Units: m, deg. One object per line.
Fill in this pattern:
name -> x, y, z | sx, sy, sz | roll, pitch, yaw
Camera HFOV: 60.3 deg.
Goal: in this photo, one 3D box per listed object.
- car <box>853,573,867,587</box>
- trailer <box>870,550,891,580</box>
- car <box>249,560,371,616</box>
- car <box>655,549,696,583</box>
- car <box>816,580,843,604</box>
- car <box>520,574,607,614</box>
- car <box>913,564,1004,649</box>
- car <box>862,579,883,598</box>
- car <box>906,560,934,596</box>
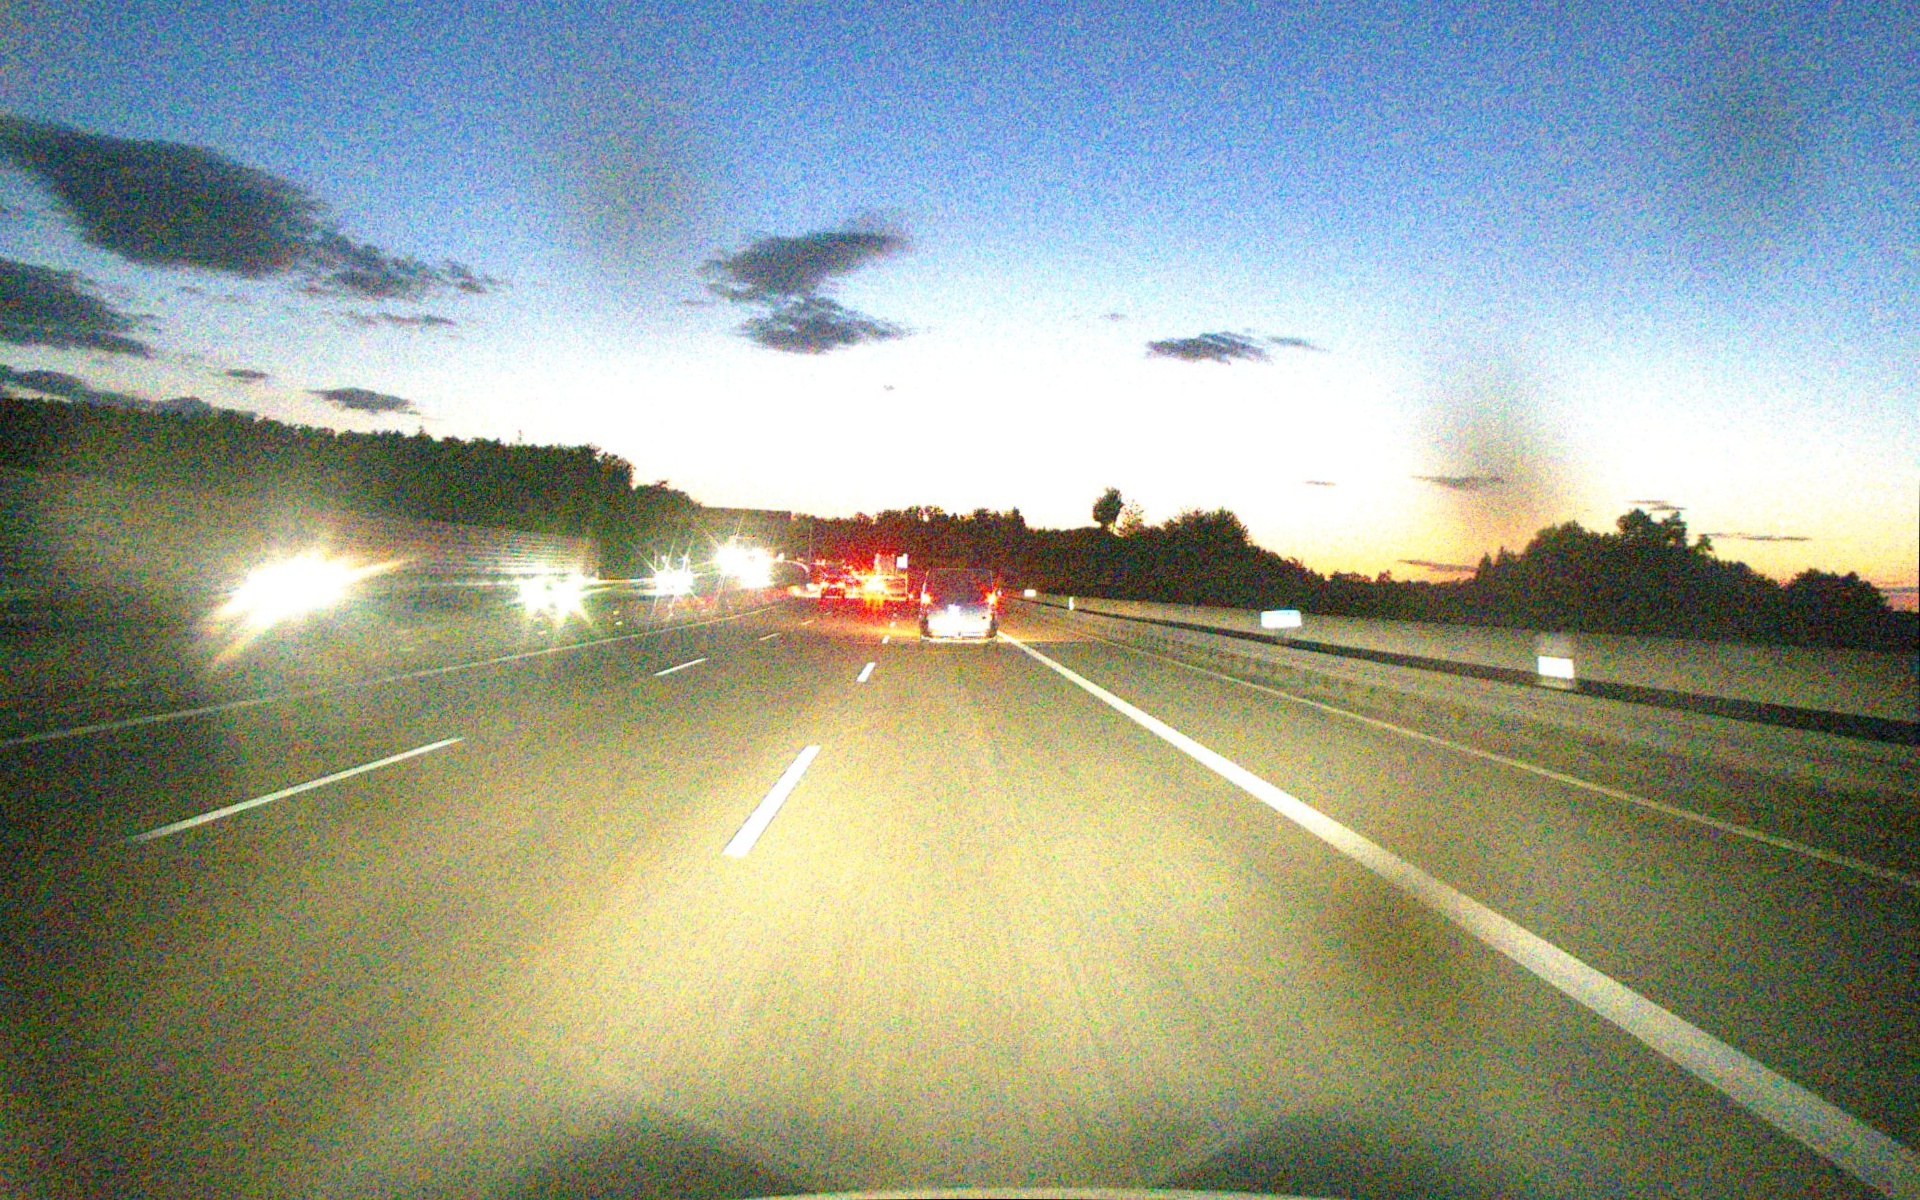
car -> -14.213, -2.800, 234.583 | 1.954, 1.825, 3.997 | 1, 0, -4
trailer -> -12.773, -5.499, 264.634 | 2.774, 4.331, 17.032 | 1, 0, -4
car -> -22.796, -0.403, 58.275 | 2.012, 1.813, 5.940 | 1, 0, -1
car -> -27.430, -3.326, 159.859 | 2.598, 3.139, 8.214 | 1, 1, -1
car -> -10.226, -0.627, 129.973 | 1.954, 1.847, 3.997 | 1, 0, -3
car -> -16.700, -0.238, 69.939 | 2.507, 1.583, 5.108 | 1, 0, -1
car -> -0.112, 0.091, 43.001 | 2.073, 2.035, 5.661 | 1, 1, -3
car -> -8.599, -1.134, 162.882 | 1.954, 1.825, 3.998 | 1, 0, -3
car -> -3.088, -1.728, 128.645 | 1.991, 2.693, 5.725 | 1, 1, -1
